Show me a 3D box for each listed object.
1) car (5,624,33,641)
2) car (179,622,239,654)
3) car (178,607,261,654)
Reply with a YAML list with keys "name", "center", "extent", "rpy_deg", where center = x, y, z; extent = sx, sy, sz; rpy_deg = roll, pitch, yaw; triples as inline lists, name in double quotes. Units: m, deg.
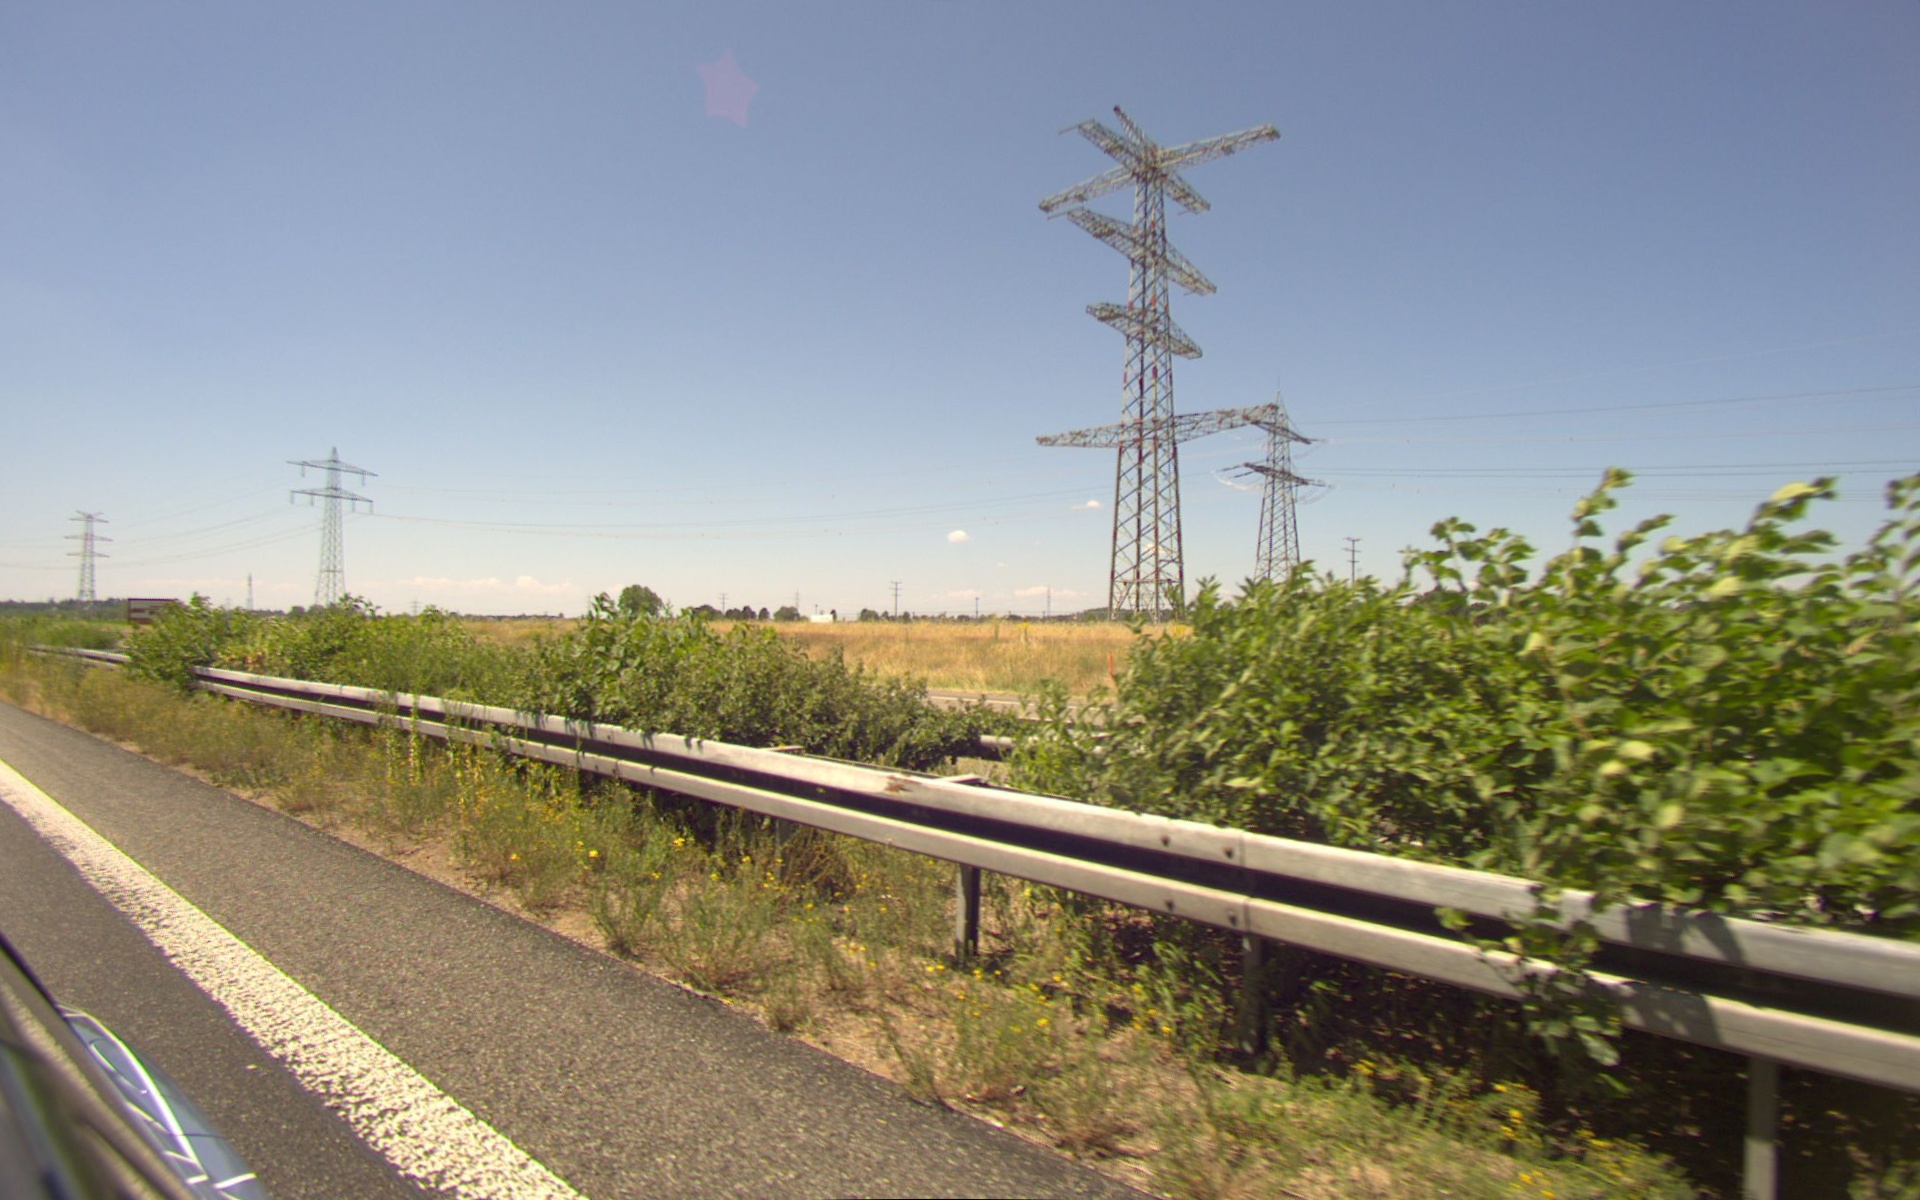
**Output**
- name: "car"
  center: [-108.337, 3.725, 116.491]
  extent: [3.984, 1.993, 1.876]
  rpy_deg: [-1, -2, 40]
- name: "car"
  center: [-45.355, 2.256, 61.087]
  extent: [4.977, 1.793, 1.898]
  rpy_deg: [-1, -1, 41]
- name: "car"
  center: [-34.591, 1.396, 47.229]
  extent: [4.839, 2.029, 1.973]
  rpy_deg: [-1, -4, 41]
